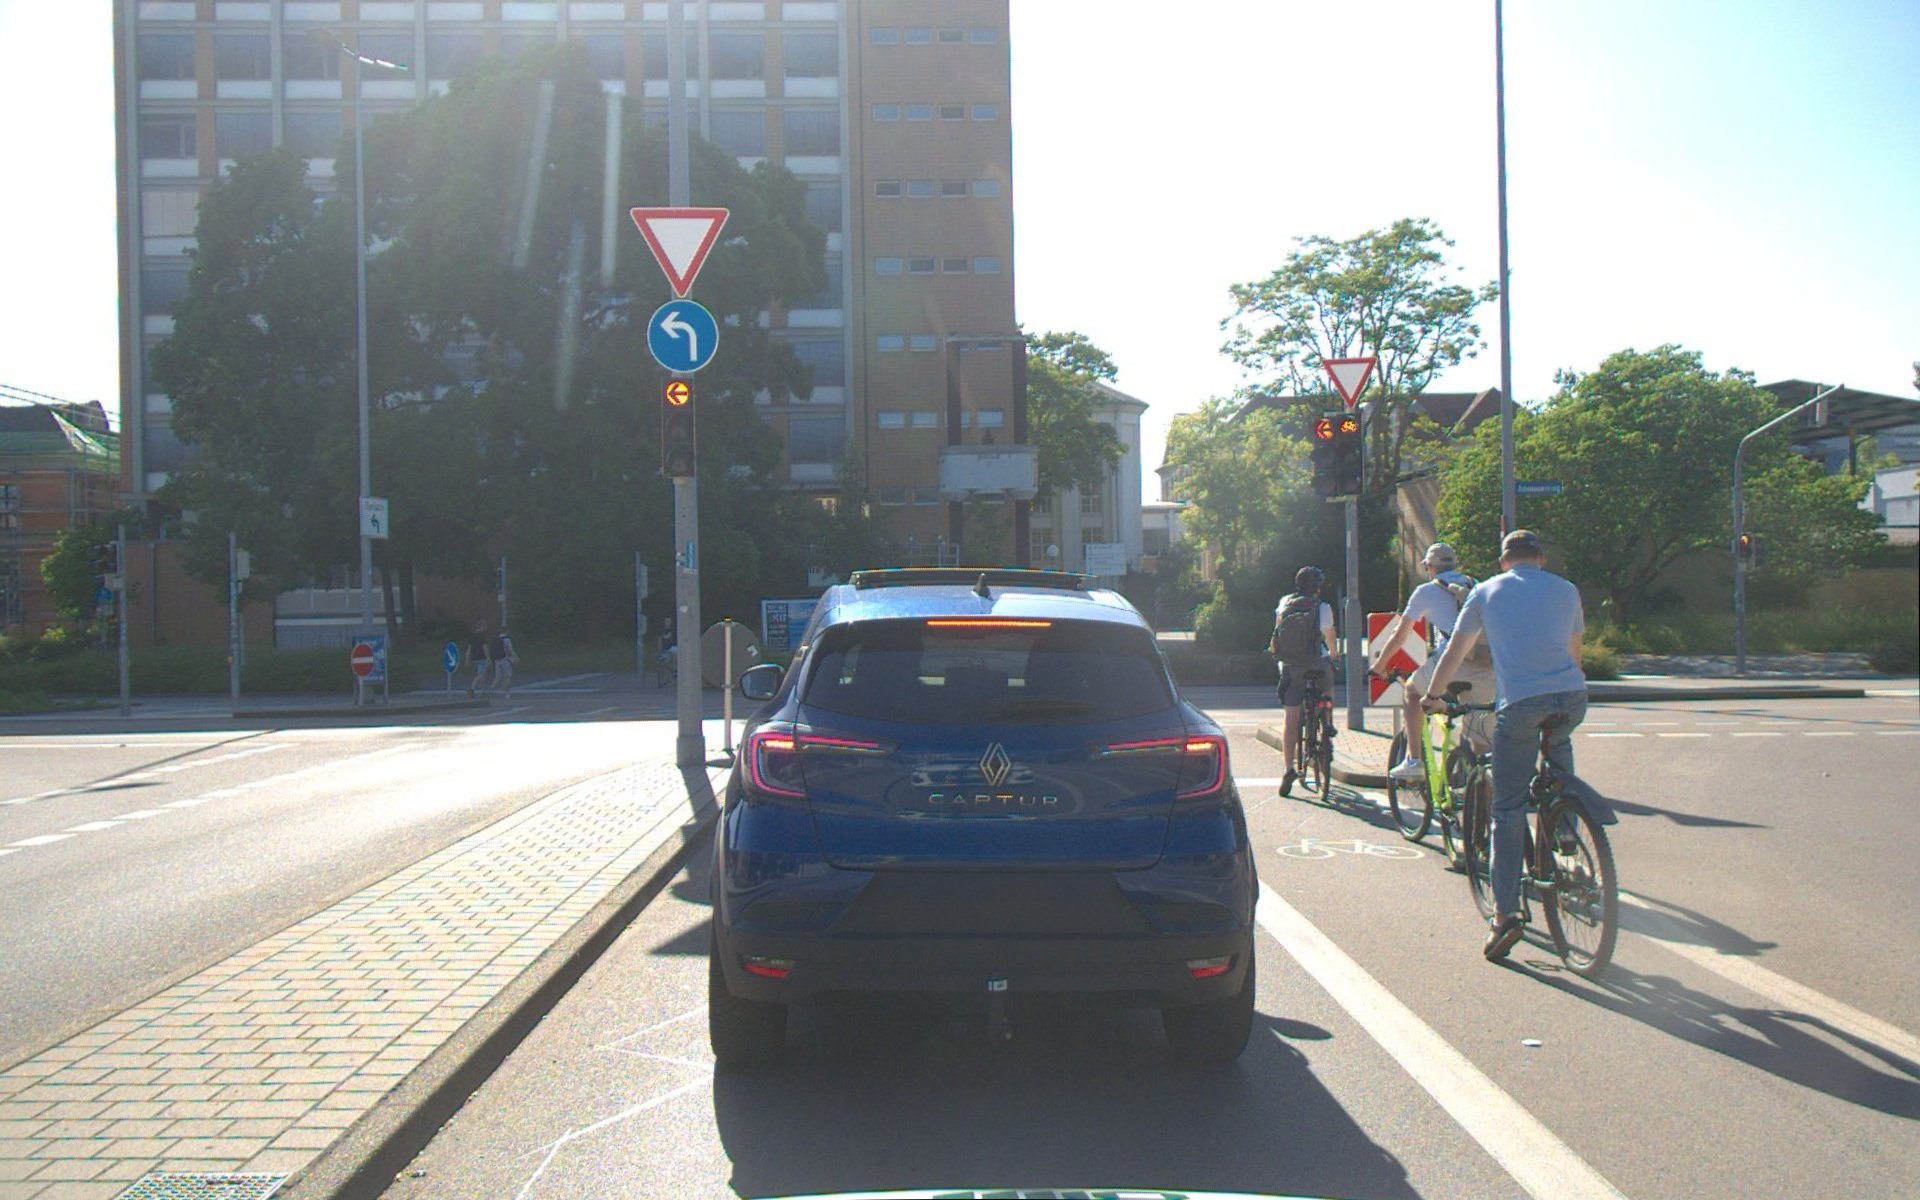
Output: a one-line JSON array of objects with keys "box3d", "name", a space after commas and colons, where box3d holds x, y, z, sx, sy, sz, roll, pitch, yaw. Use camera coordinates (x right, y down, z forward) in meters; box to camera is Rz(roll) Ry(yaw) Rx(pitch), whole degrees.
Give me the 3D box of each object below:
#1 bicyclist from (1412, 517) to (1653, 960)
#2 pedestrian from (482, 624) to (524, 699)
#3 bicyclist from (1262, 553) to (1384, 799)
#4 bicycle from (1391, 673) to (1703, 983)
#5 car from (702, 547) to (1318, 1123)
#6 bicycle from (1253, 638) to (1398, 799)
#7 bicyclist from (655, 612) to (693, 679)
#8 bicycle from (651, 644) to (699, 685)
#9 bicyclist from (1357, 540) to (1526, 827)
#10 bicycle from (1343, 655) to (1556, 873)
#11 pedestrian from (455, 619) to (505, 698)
[{"box3d": [2.513, 0.571, 7.380, 0.669, 1.822, 1.142, 0, 0, -1], "name": "bicyclist"}, {"box3d": [-10.928, 1.458, 39.552, 0.666, 1.761, 0.761, -1, 0, 13], "name": "pedestrian"}, {"box3d": [2.789, 0.562, 12.807, 0.685, 1.822, 1.142, 0, 0, -1], "name": "bicyclist"}, {"box3d": [2.511, 0.921, 7.331, 0.675, 1.108, 1.922, 0, 0, -1], "name": "bicycle"}, {"box3d": [0.061, 0.664, 6.648, 1.753, 1.613, 3.912, 0, 0, -3], "name": "car"}, {"box3d": [2.783, 0.868, 12.780, 0.675, 1.108, 1.922, 0, 0, -1], "name": "bicycle"}, {"box3d": [-7.541, 1.194, 43.671, 0.739, 1.746, 0.999, -1, 0, 5], "name": "bicyclist"}, {"box3d": [-7.522, 1.700, 43.774, 0.739, 1.002, 2.095, -1, 0, 5], "name": "bicycle"}, {"box3d": [2.854, 0.471, 9.902, 0.664, 1.622, 1.142, 0, 0, -1], "name": "bicyclist"}, {"box3d": [2.853, 0.911, 9.848, 0.675, 1.108, 1.922, 0, 0, -1], "name": "bicycle"}, {"box3d": [-11.673, 1.413, 40.205, 0.796, 1.895, 0.910, -1, 0, 13], "name": "pedestrian"}]
